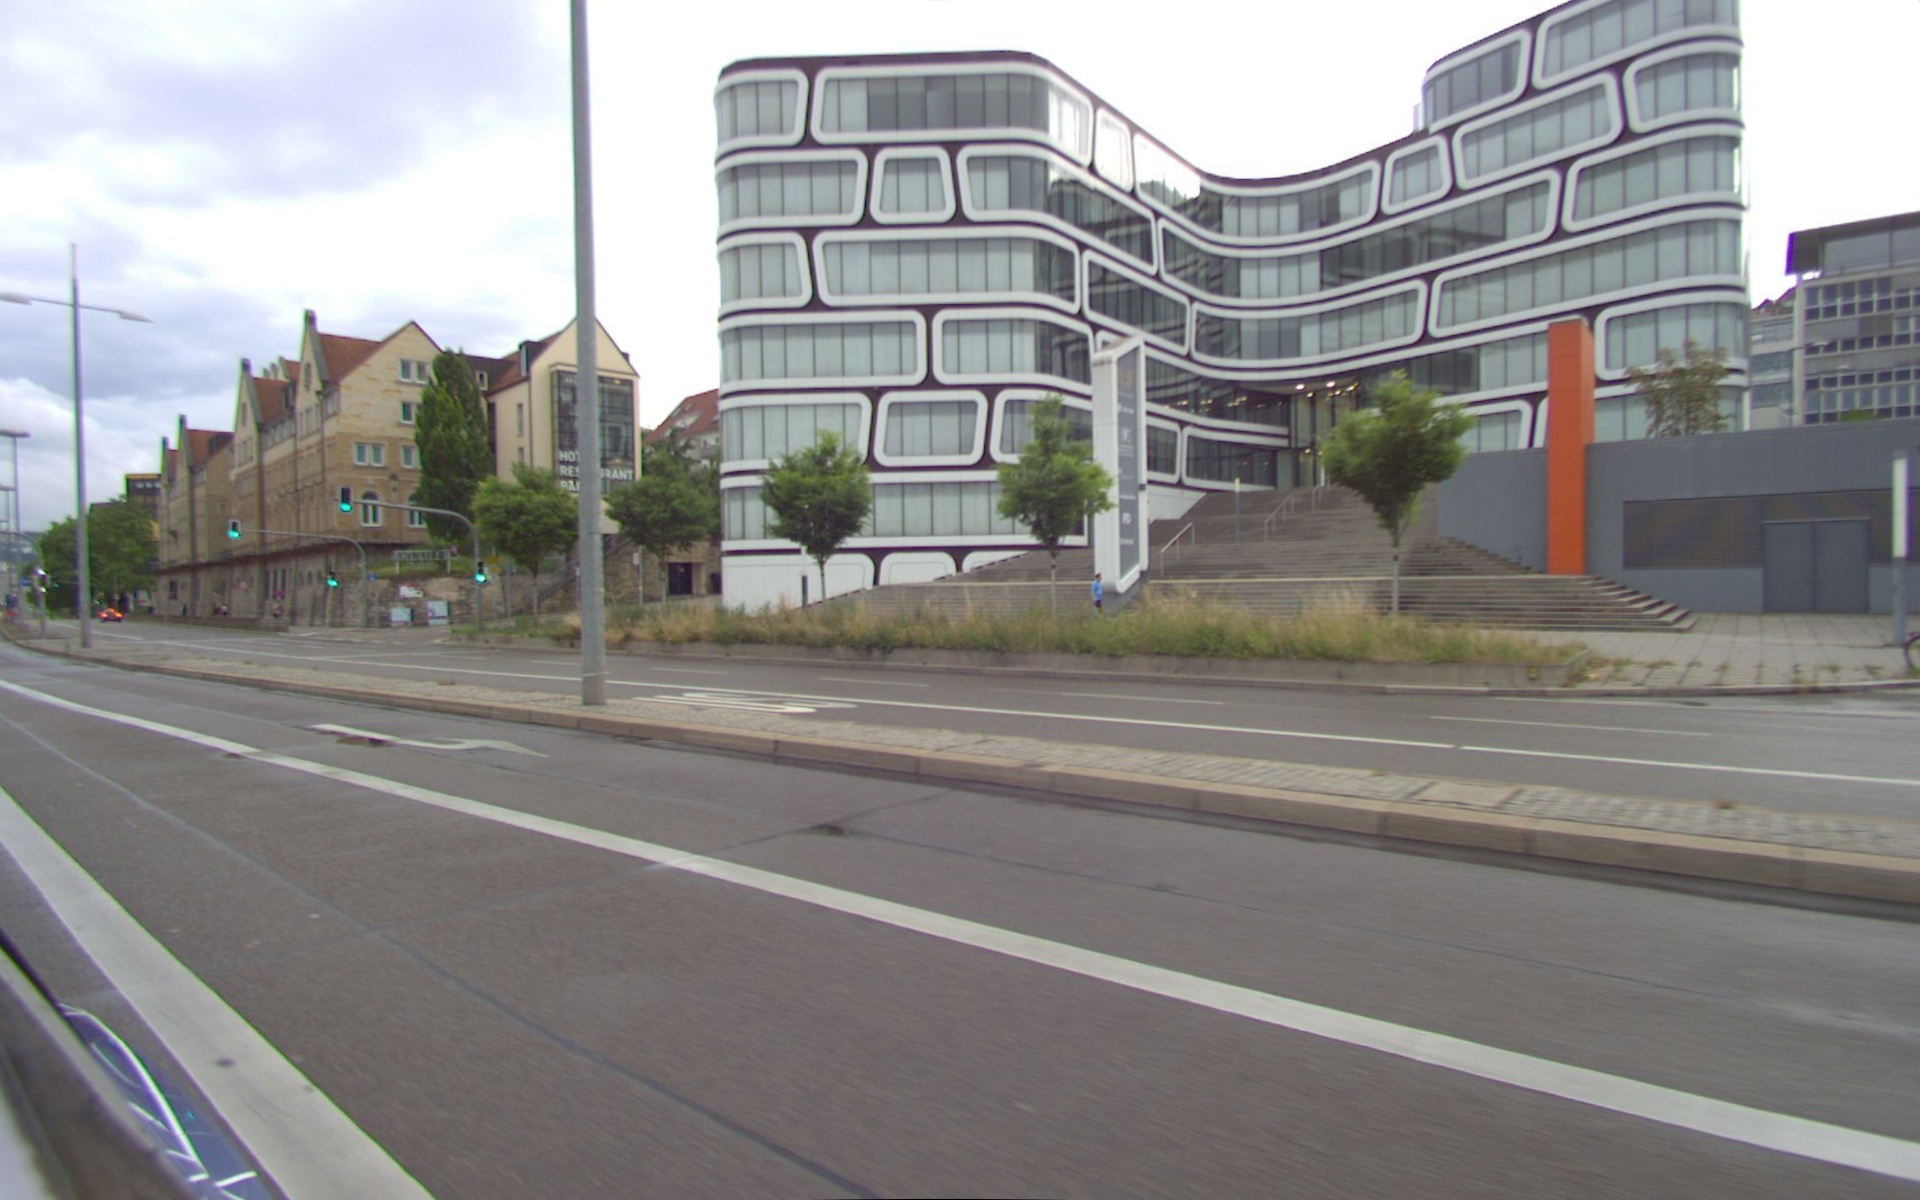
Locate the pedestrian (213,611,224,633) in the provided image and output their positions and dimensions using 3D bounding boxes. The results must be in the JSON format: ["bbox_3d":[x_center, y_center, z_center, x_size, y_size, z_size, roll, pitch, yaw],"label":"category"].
[{"bbox_3d":[-63.652,1.875,86.830,0.668,1.792,0.684,0,0,-45],"label":"pedestrian"}]

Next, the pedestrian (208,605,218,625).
[{"bbox_3d":[-69.171,1.391,93.691,0.668,1.792,0.684,0,0,-45],"label":"pedestrian"}]

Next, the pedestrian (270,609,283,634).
[{"bbox_3d":[-49.388,1.566,73.169,0.668,1.792,0.684,0,0,-45],"label":"pedestrian"}]

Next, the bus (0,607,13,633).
[{"bbox_3d":[-164.049,3.427,173.329,2.465,3.365,8.450,-1,-8,-44],"label":"bus"}]

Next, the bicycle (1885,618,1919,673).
[{"bbox_3d":[16.119,0.730,16.391,1.637,0.864,0.608,0,0,6],"label":"bicycle"}]

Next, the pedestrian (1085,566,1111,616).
[{"bbox_3d":[4.569,-0.305,33.505,0.639,1.623,0.604,0,0,42],"label":"pedestrian"}]

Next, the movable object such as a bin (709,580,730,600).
[{"bbox_3d":[-16.774,-0.681,70.688,1.118,1.252,0.816,-4,5,45],"label":"movable object such as a bin"}]

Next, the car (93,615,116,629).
[{"bbox_3d":[-96.663,2.463,114.295,1.691,1.475,4.003,-2,0,-44],"label":"car"}]

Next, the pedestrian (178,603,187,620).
[{"bbox_3d":[-81.565,1.193,106.209,0.668,1.792,0.684,0,0,-45],"label":"pedestrian"}]
